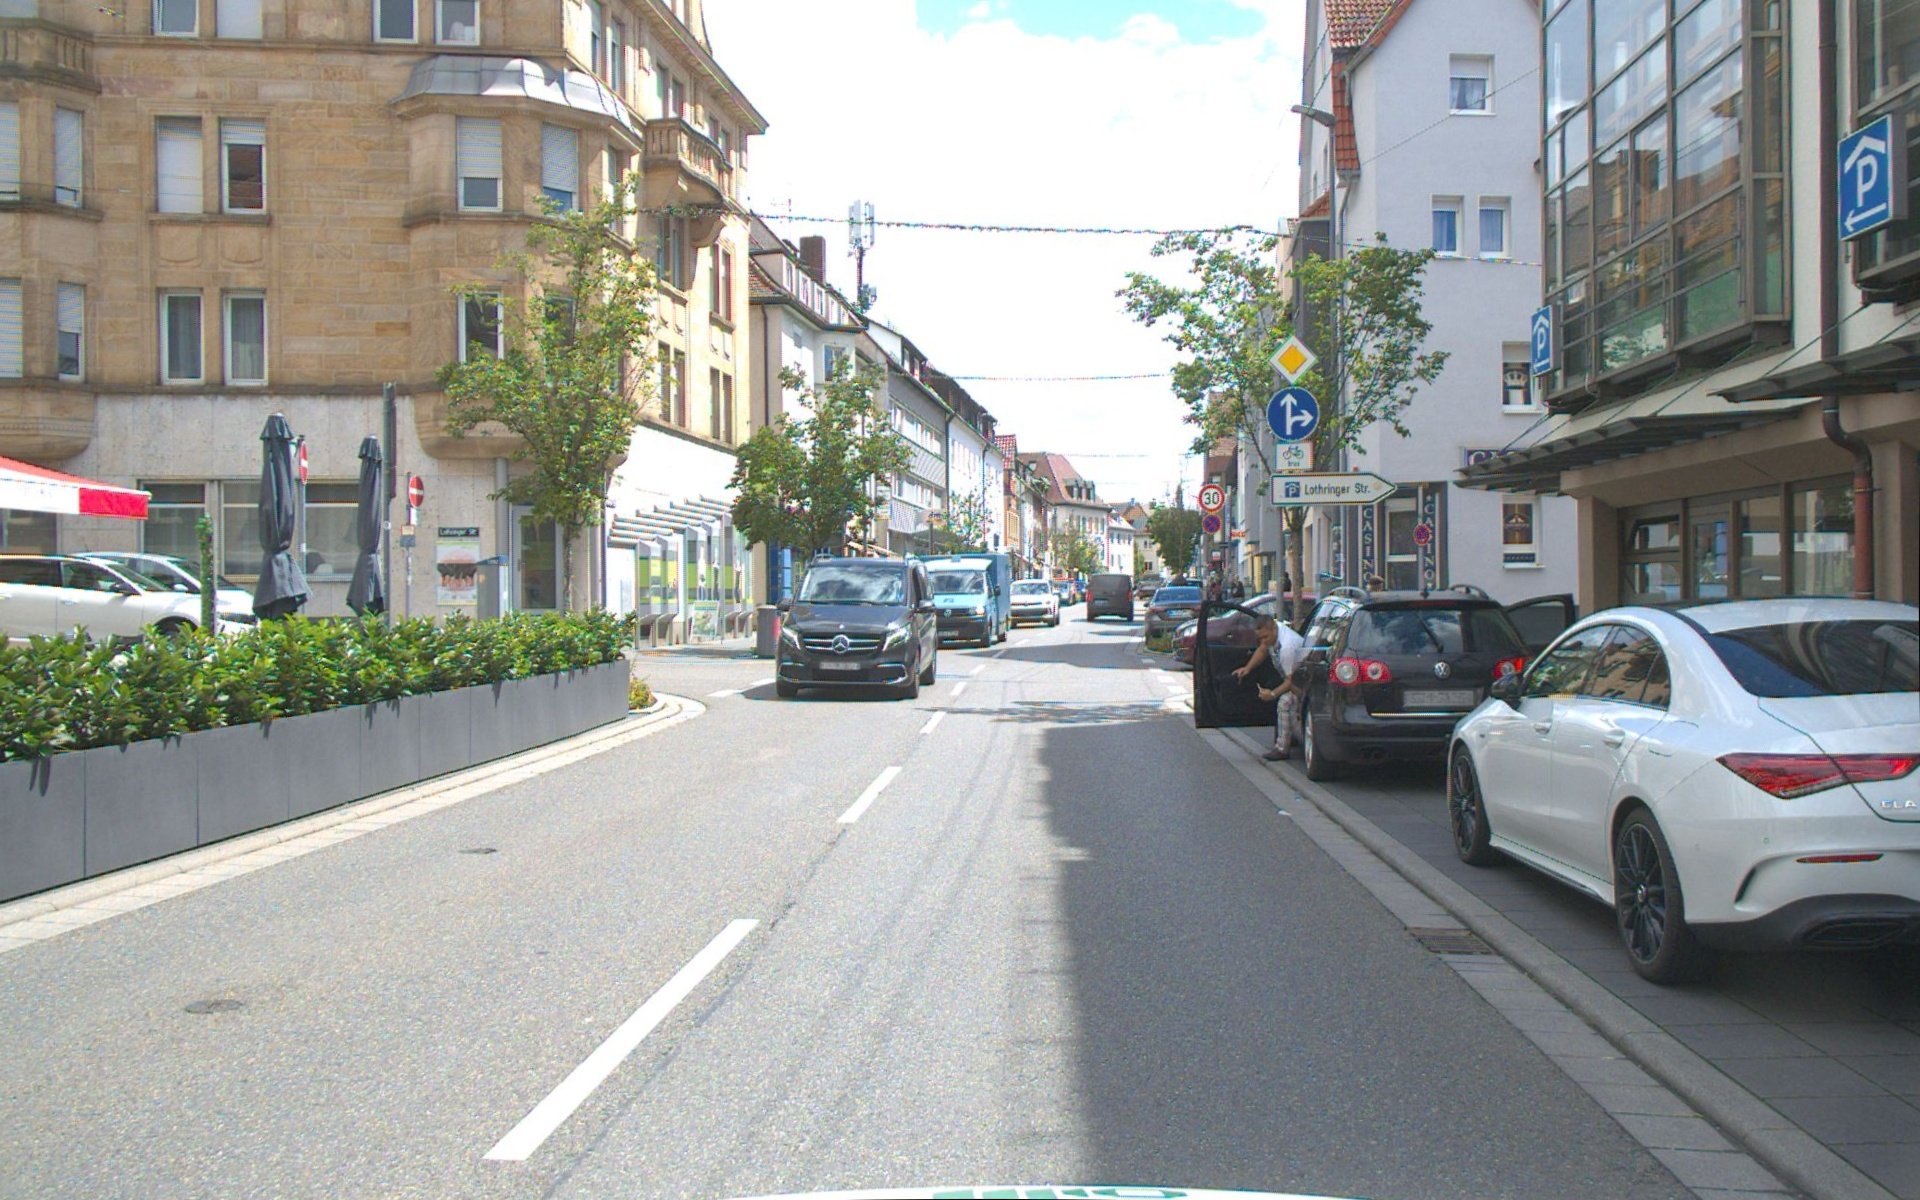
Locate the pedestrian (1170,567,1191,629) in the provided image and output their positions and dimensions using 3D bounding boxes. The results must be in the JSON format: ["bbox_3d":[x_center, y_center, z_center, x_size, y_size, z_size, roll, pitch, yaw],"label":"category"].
[{"bbox_3d":[7.392,-0.073,55.355,0.668,2.049,0.599,1,0,7],"label":"pedestrian"}]

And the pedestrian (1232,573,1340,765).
[{"bbox_3d":[2.845,0.584,14.419,0.654,1.622,0.674,1,-1,40],"label":"pedestrian"}]

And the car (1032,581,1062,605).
[{"bbox_3d":[5.845,-0.464,111.848,1.952,1.612,4.001,0,0,2],"label":"car"}]

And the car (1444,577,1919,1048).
[{"bbox_3d":[3.499,0.654,7.393,1.587,1.459,4.241,-2,1,3],"label":"car"}]

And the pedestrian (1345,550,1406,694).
[{"bbox_3d":[6.007,0.313,23.927,0.675,2.049,0.723,0,0,-2],"label":"pedestrian"}]

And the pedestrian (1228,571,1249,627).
[{"bbox_3d":[10.308,-0.026,61.266,0.668,2.049,0.599,1,0,0],"label":"pedestrian"}]

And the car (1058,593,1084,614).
[{"bbox_3d":[8.827,0.274,132.183,1.952,1.612,4.001,0,0,2],"label":"car"}]

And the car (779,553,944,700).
[{"bbox_3d":[-1.272,0.313,23.327,1.796,1.867,4.572,0,1,3],"label":"car"}]

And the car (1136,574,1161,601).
[{"bbox_3d":[17.462,-1.146,153.006,2.020,2.341,4.228,1,0,11],"label":"car"}]

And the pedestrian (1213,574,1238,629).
[{"bbox_3d":[9.449,0.048,58.855,0.563,1.923,0.641,1,0,-24],"label":"pedestrian"}]

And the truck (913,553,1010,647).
[{"bbox_3d":[0.121,-0.035,41.606,2.022,2.203,5.297,-1,1,5],"label":"truck"}]

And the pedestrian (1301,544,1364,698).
[{"bbox_3d":[5.062,0.280,22.507,0.675,2.049,0.723,0,0,-2],"label":"pedestrian"}]

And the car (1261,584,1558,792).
[{"bbox_3d":[3.596,0.610,13.926,1.572,1.459,4.176,-1,1,3],"label":"car"}]

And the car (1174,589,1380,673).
[{"bbox_3d":[5.832,0.563,30.687,3.545,1.438,1.590,1,0,2],"label":"car"}]

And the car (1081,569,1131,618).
[{"bbox_3d":[5.966,-0.287,67.367,1.930,1.908,5.041,0,1,6],"label":"car"}]

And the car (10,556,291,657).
[{"bbox_3d":[-13.928,0.104,28.641,3.907,1.691,1.908,0,0,-2],"label":"car"}]

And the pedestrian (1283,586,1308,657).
[{"bbox_3d":[9.150,0.578,45.154,0.581,1.923,0.573,1,0,5],"label":"pedestrian"}]

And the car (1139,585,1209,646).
[{"bbox_3d":[5.411,0.373,42.120,1.489,1.459,3.372,-1,1,3],"label":"car"}]

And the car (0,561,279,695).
[{"bbox_3d":[-12.141,0.367,23.409,4.342,1.807,1.993,0,0,-13],"label":"car"}]

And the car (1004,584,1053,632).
[{"bbox_3d":[2.394,0.273,57.904,1.662,1.612,3.959,0,0,2],"label":"car"}]

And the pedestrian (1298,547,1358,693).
[{"bbox_3d":[5.248,0.278,23.630,0.675,2.049,0.723,0,0,-2],"label":"pedestrian"}]
